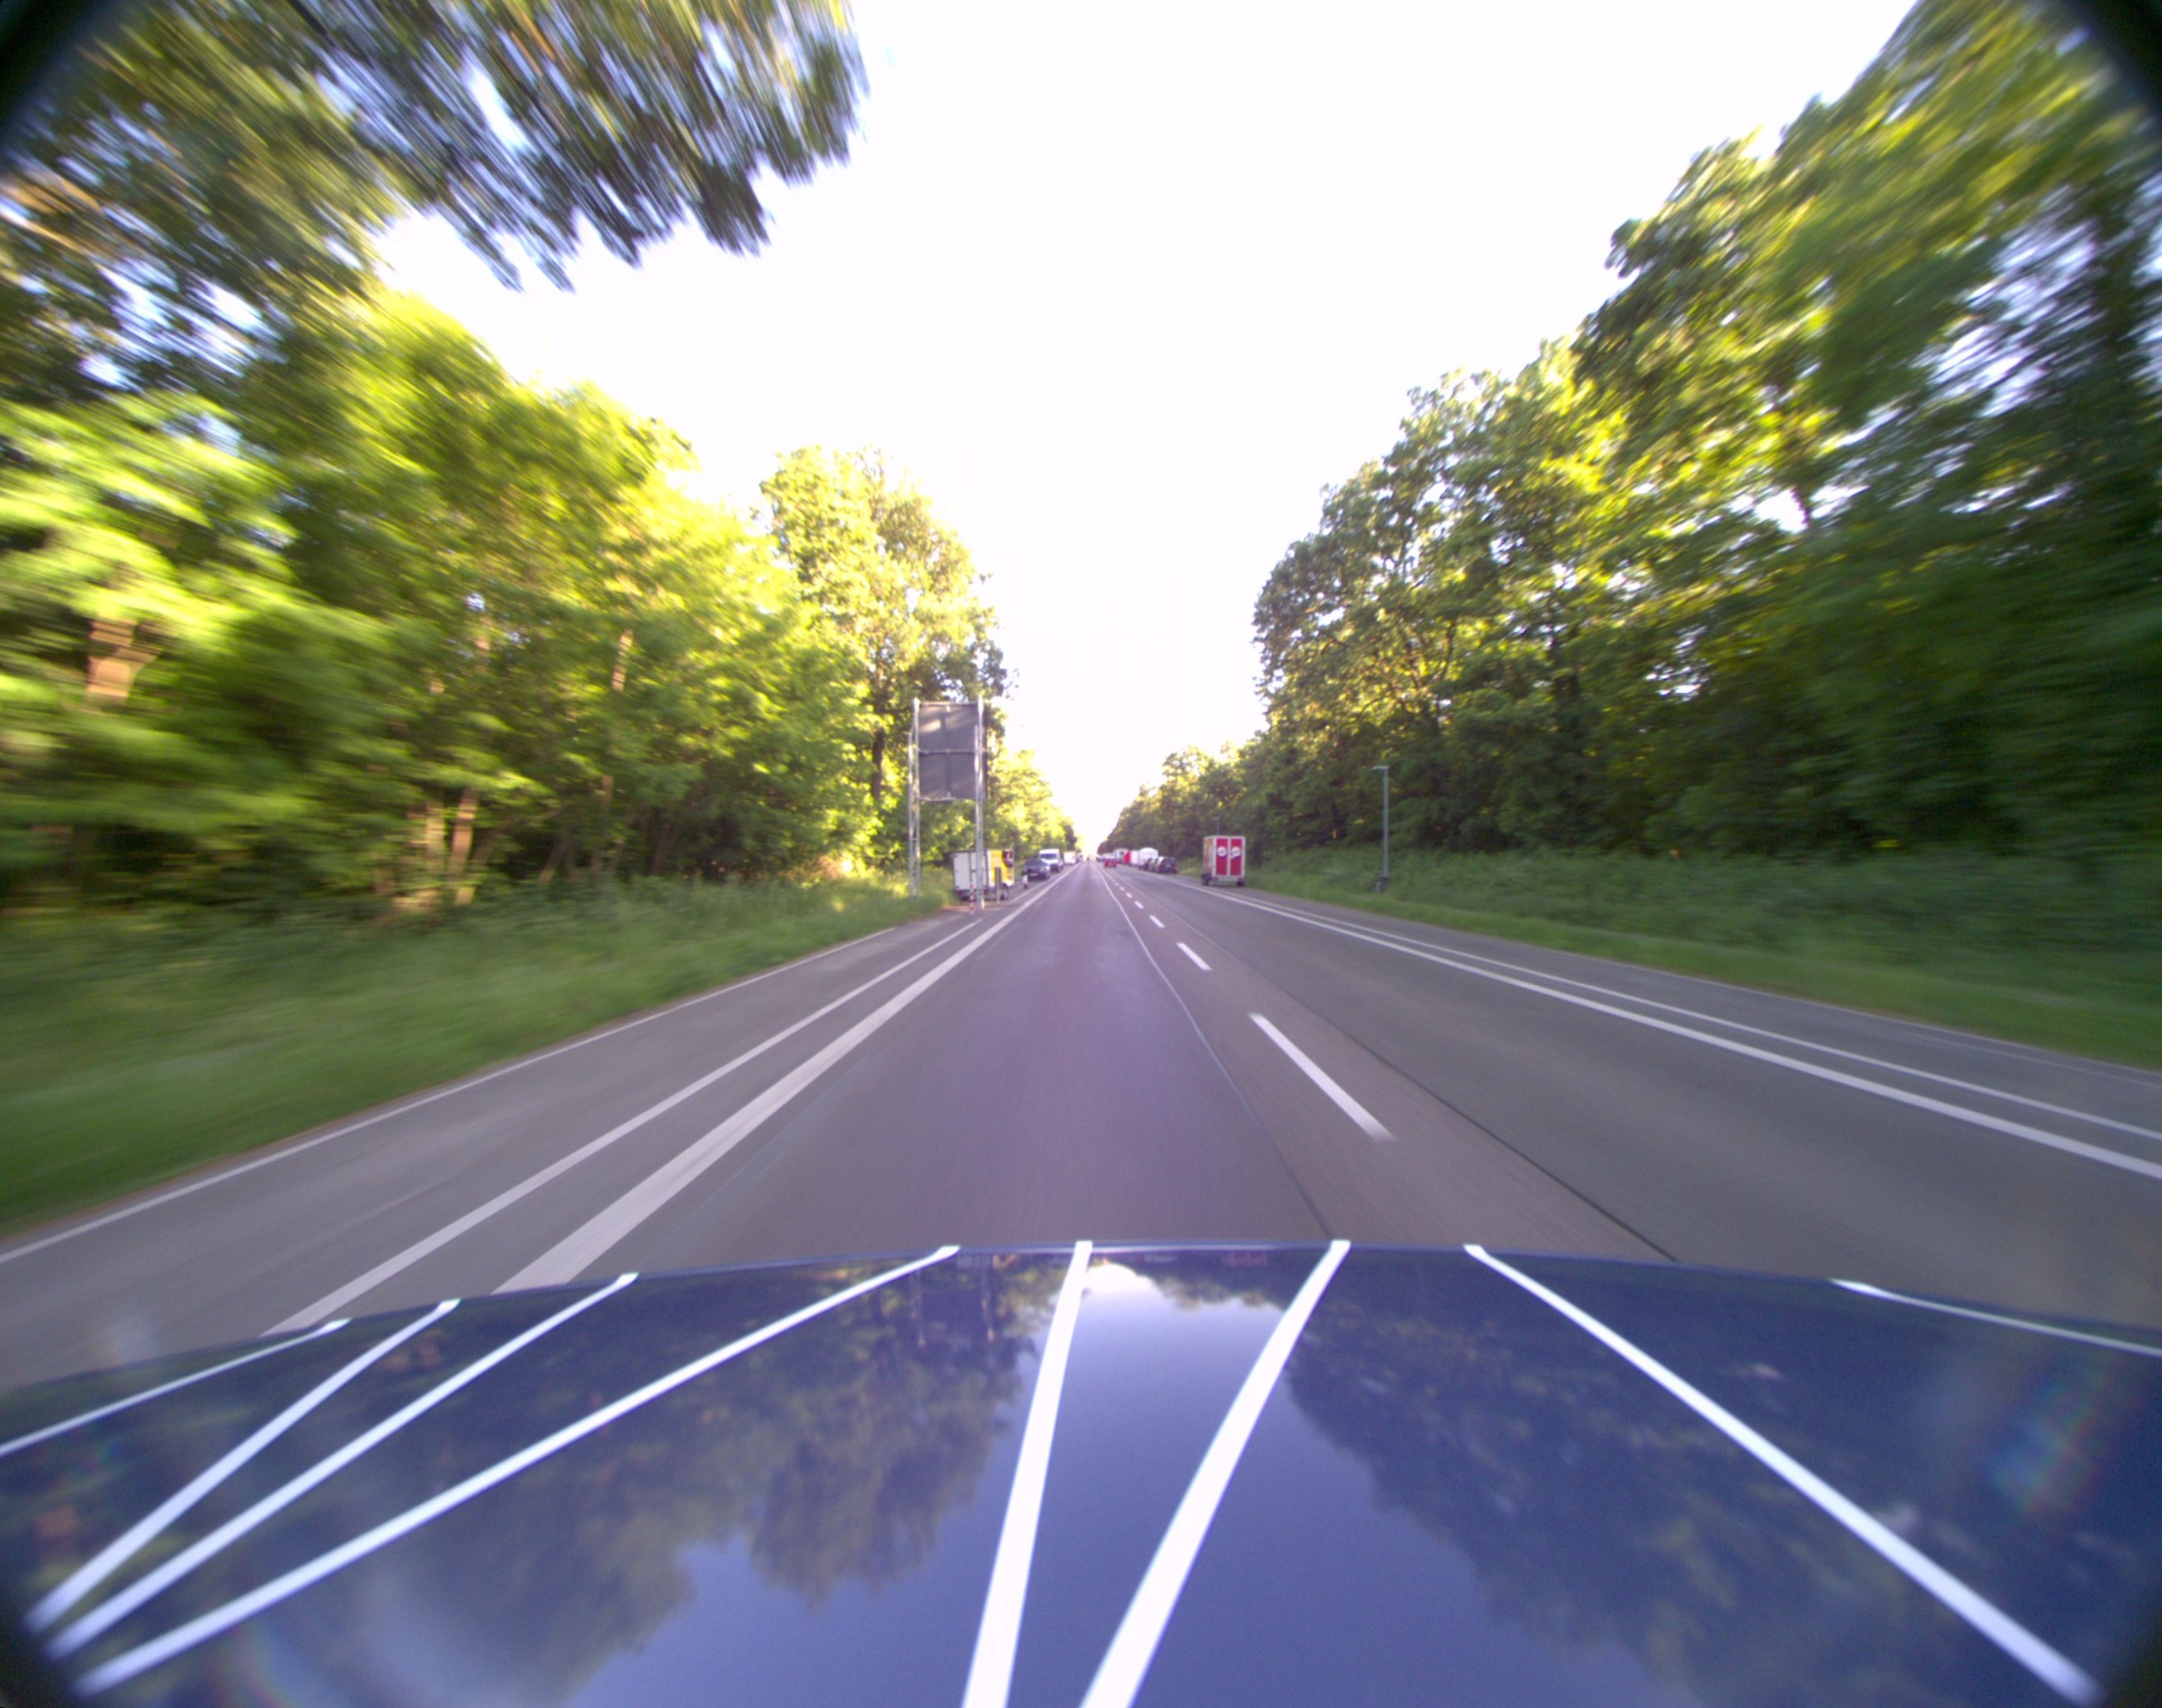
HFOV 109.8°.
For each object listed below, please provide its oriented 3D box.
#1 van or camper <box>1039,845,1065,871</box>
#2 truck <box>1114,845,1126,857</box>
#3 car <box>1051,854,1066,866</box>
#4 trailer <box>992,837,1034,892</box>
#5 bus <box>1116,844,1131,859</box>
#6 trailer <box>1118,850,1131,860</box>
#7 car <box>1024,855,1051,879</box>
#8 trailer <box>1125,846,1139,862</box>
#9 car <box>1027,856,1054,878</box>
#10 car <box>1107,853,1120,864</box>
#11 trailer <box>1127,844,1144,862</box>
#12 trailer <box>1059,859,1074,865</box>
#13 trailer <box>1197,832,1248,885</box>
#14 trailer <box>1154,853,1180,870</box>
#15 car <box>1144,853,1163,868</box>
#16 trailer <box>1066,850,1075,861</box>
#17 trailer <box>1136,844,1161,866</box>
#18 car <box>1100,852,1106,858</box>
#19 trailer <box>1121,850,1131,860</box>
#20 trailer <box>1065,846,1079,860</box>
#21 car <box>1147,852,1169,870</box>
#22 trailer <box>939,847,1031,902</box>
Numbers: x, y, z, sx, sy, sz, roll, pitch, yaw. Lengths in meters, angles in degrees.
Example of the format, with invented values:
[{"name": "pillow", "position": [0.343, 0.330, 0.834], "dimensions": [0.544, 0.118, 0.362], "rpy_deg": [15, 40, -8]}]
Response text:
[{"name": "van or camper", "position": [-2.920, 0.354, 77.580], "dimensions": [2.131, 2.468, 6.305], "rpy_deg": [-1, 0, 2]}, {"name": "truck", "position": [9.535, -0.620, 184.419], "dimensions": [2.489, 2.807, 8.424], "rpy_deg": [-2, 0, 1]}, {"name": "car", "position": [-2.966, 0.748, 100.927], "dimensions": [1.839, 1.412, 4.596], "rpy_deg": [-4, 0, -2]}, {"name": "trailer", "position": [-3.293, 0.458, 37.435], "dimensions": [1.617, 2.494, 3.999], "rpy_deg": [-2, 1, 1]}, {"name": "bus", "position": [9.531, -0.614, 173.151], "dimensions": [2.835, 3.411, 11.199], "rpy_deg": [-2, 1, 1]}, {"name": "trailer", "position": [9.353, 0.193, 164.394], "dimensions": [2.434, 1.903, 6.264], "rpy_deg": [-2, 0, 1]}, {"name": "car", "position": [-2.937, 0.863, 52.017], "dimensions": [1.590, 1.521, 3.011], "rpy_deg": [-3, 0, 1]}, {"name": "trailer", "position": [8.431, 0.008, 125.847], "dimensions": [2.072, 2.466, 3.560], "rpy_deg": [0, 0, -3]}, {"name": "car", "position": [-2.978, 0.926, 57.043], "dimensions": [1.739, 1.479, 4.400], "rpy_deg": [-3, 0, 0]}, {"name": "car", "position": [4.455, 0.567, 103.597], "dimensions": [1.608, 1.412, 3.518], "rpy_deg": [1, 0, 1]}, {"name": "trailer", "position": [7.915, -0.155, 110.995], "dimensions": [2.072, 2.466, 3.560], "rpy_deg": [0, 0, -3]}, {"name": "trailer", "position": [-2.546, 1.361, 132.517], "dimensions": [2.439, 0.794, 5.659], "rpy_deg": [-2, 1, 1]}, {"name": "trailer", "position": [7.429, 0.219, 40.309], "dimensions": [1.998, 2.606, 4.086], "rpy_deg": [-1, 0, 1]}, {"name": "trailer", "position": [7.801, 0.688, 69.332], "dimensions": [1.845, 1.457, 4.466], "rpy_deg": [-1, 0, 1]}, {"name": "car", "position": [7.800, 0.668, 82.204], "dimensions": [1.675, 1.486, 4.194], "rpy_deg": [2, 1, 1]}, {"name": "trailer", "position": [-2.036, 0.278, 146.658], "dimensions": [1.759, 2.149, 3.539], "rpy_deg": [-1, 0, 0]}, {"name": "trailer", "position": [7.845, 0.112, 88.691], "dimensions": [2.352, 2.514, 4.343], "rpy_deg": [0, 0, -3]}, {"name": "car", "position": [6.067, 0.362, 209.785], "dimensions": [1.824, 1.524, 4.530], "rpy_deg": [0, 1, 1]}, {"name": "trailer", "position": [8.855, 0.192, 150.586], "dimensions": [1.857, 2.002, 3.561], "rpy_deg": [2, 0, 1]}, {"name": "trailer", "position": [-1.956, -0.263, 169.267], "dimensions": [2.928, 2.825, 9.881], "rpy_deg": [-4, 1, 0]}, {"name": "car", "position": [7.699, 0.677, 76.090], "dimensions": [1.675, 1.565, 5.126], "rpy_deg": [2, 1, 1]}, {"name": "trailer", "position": [-3.692, 0.756, 29.834], "dimensions": [1.964, 2.011, 3.849], "rpy_deg": [-1, 0, 21]}]
